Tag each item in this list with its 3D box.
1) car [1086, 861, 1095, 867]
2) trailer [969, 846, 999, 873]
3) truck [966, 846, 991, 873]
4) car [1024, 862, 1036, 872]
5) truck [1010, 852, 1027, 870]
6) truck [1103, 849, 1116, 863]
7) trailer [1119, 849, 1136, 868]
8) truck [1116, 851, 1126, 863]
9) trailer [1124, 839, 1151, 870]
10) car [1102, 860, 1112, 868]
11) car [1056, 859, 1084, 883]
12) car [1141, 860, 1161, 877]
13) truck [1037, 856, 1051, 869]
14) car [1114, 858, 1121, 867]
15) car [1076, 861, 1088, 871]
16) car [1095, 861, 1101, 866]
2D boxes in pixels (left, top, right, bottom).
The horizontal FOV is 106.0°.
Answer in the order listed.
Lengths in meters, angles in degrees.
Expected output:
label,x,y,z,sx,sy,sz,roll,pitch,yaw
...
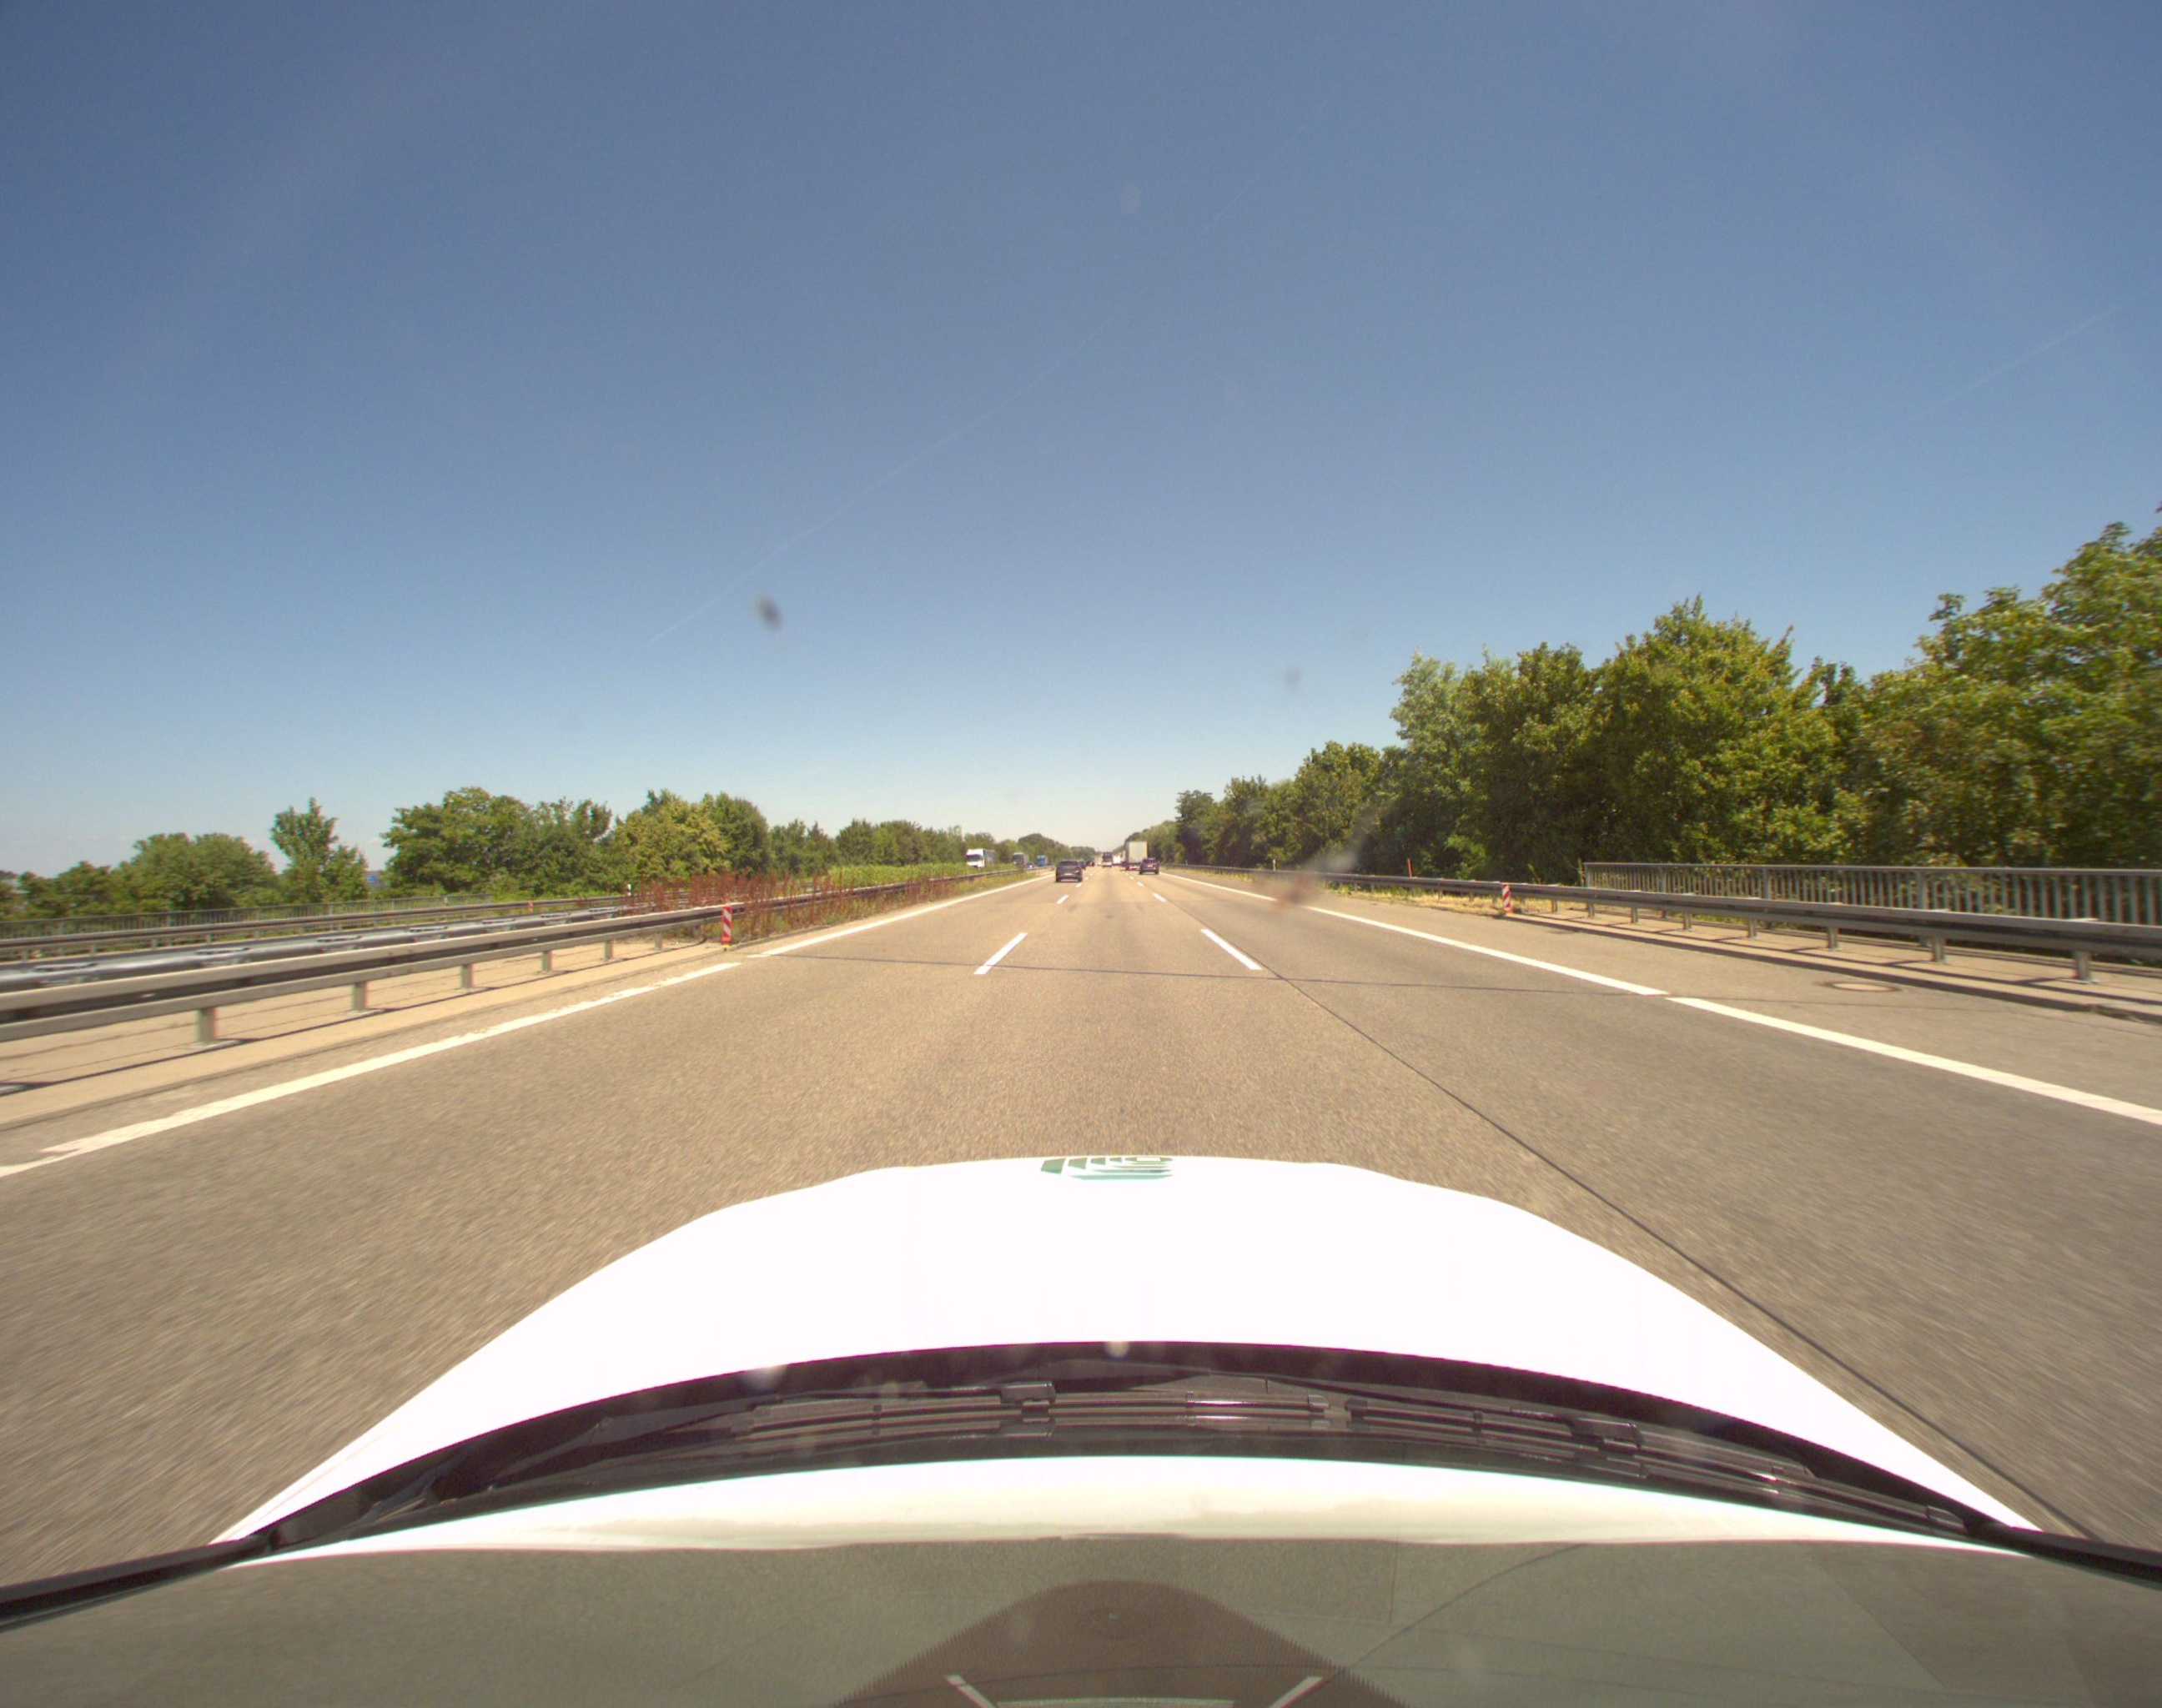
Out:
label,x,y,z,sx,sy,sz,roll,pitch,yaw
car,2.244,2.347,192.650,1.900,1.531,4.287,0,0,2
trailer,-16.517,0.999,139.479,2.909,4.186,13.545,-4,-1,2
truck,-16.727,0.946,132.887,2.906,4.129,6.195,-4,-1,1
car,-11.388,2.911,181.115,2.221,1.989,5.356,-1,0,0
truck,-14.825,1.667,193.882,3.186,4.129,6.196,-1,0,2
truck,8.280,0.554,233.812,3.652,3.726,7.114,0,0,3
trailer,10.016,0.928,176.594,3.111,3.926,9.938,0,0,1
truck,11.837,0.867,241.444,2.781,3.726,7.114,0,0,3
trailer,7.837,0.175,115.023,3.421,4.181,13.638,0,-1,2
car,5.181,1.996,159.597,1.893,1.531,4.086,0,0,2
car,-0.736,1.158,57.012,1.752,1.531,4.287,0,0,2
car,6.939,1.454,81.177,1.838,1.629,4.137,-1,-1,2
truck,-11.875,2.811,261.566,3.237,3.986,8.737,-1,0,4
car,9.345,2.158,210.052,1.900,2.425,4.287,0,0,2
car,0.189,1.910,130.713,1.893,1.531,4.086,0,0,2
car,5.554,3.192,261.296,1.900,1.531,4.287,0,0,2
